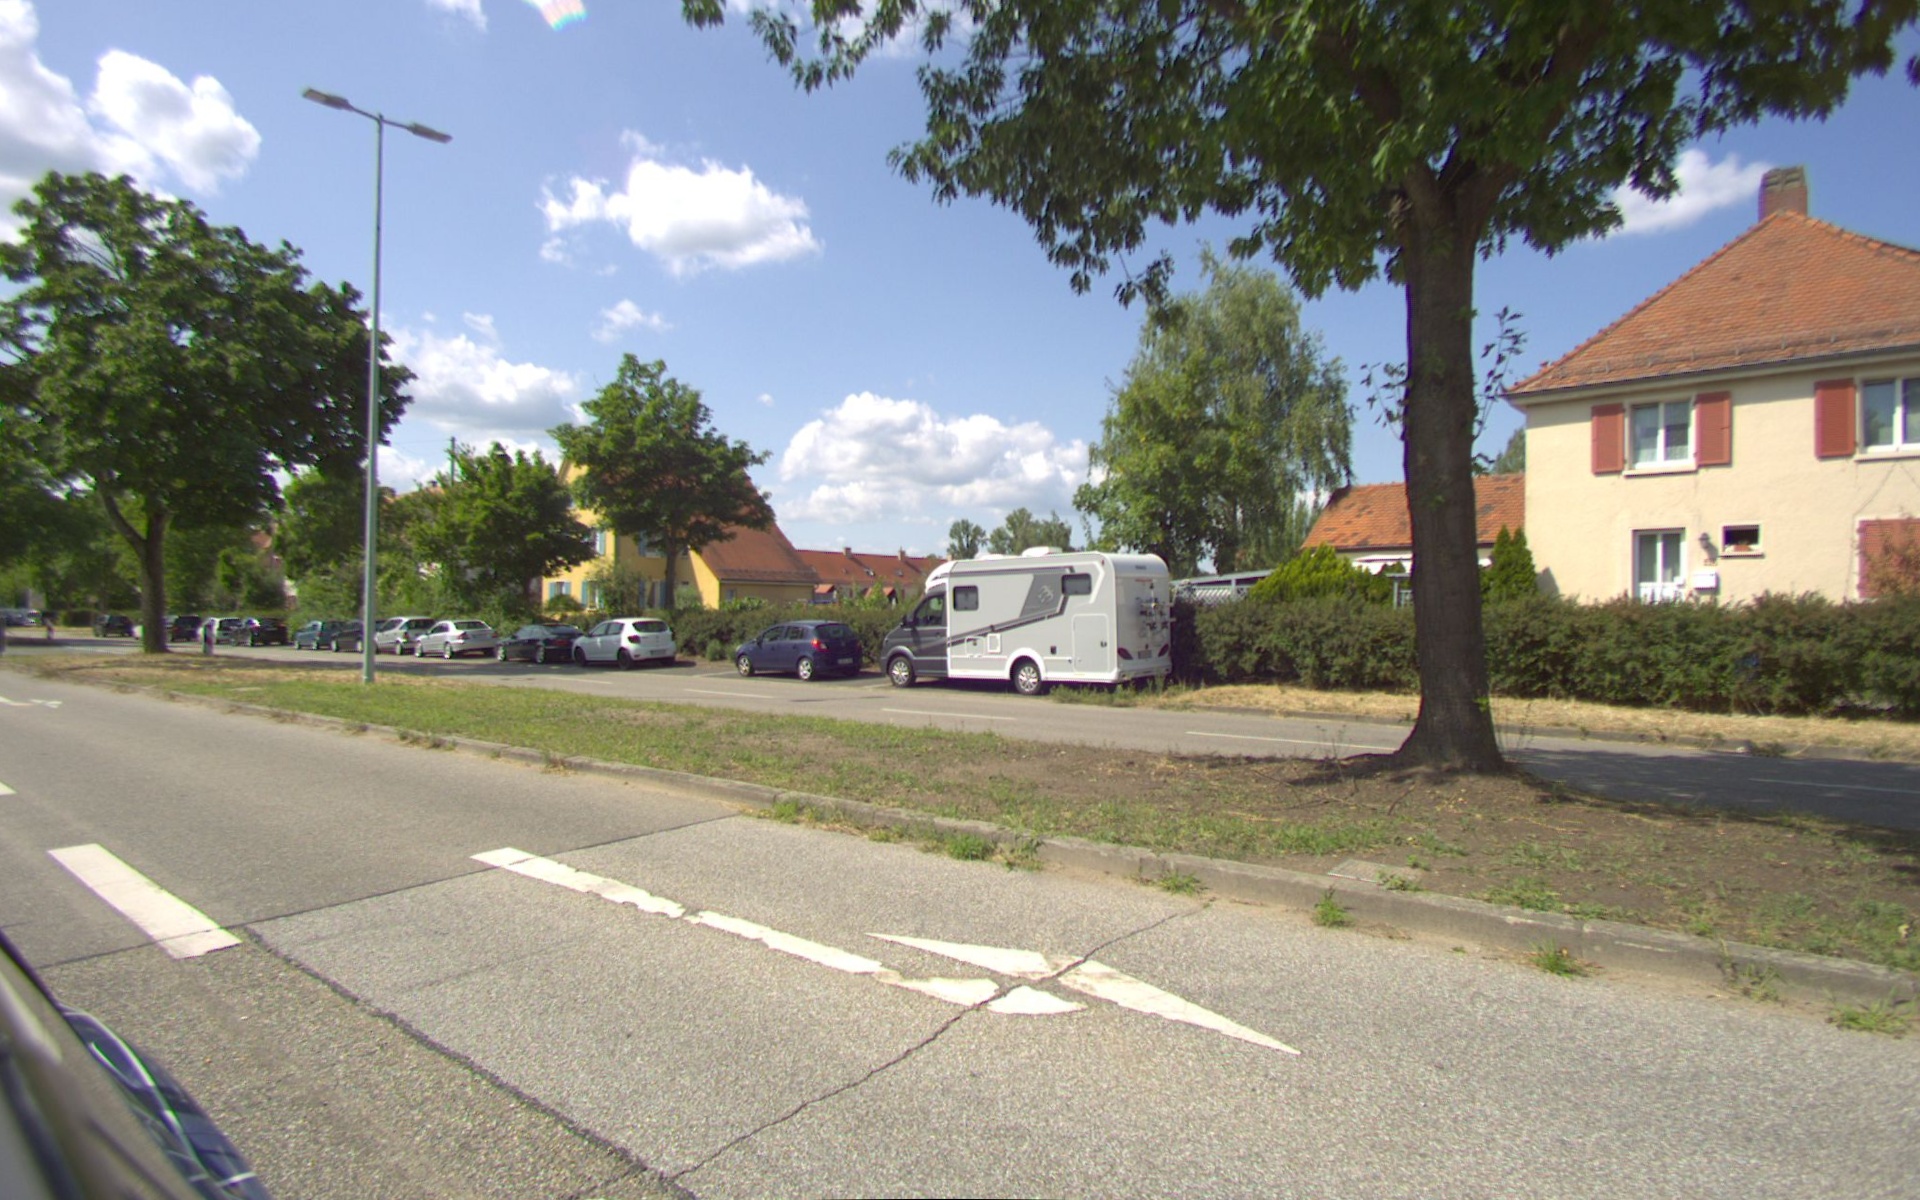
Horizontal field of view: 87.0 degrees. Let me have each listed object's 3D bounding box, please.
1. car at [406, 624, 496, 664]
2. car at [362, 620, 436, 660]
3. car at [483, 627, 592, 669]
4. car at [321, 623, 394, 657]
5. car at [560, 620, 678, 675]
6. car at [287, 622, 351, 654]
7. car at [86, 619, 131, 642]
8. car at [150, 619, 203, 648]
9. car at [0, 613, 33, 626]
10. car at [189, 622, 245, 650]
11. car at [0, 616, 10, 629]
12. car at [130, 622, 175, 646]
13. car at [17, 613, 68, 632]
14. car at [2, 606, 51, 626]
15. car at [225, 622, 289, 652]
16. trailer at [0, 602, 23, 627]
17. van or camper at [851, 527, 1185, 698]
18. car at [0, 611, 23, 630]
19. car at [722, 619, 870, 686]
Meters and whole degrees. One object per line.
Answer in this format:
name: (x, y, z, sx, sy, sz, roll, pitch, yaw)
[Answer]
car: (-19.765, 1.672, 39.248, 4.528, 1.380, 1.495, -1, 0, 41)
car: (-23.679, 1.653, 42.679, 3.738, 1.569, 1.389, -1, 1, 39)
car: (-14.723, 1.613, 35.130, 4.581, 1.316, 1.619, -1, 0, 41)
car: (-27.142, 1.783, 45.513, 4.352, 1.405, 1.389, -1, 1, 39)
car: (-10.793, 1.450, 31.903, 4.122, 1.496, 1.671, 0, 1, 41)
car: (-30.962, 1.813, 48.854, 3.473, 1.405, 1.547, 0, 1, 39)
car: (-62.349, 2.217, 74.104, 3.995, 1.563, 1.750, 0, 1, 38)
car: (-49.143, 2.080, 63.467, 4.309, 1.624, 1.644, 0, 1, 38)
car: (-106.022, 2.170, 113.001, 1.549, 1.408, 4.004, -1, 1, -4)
car: (-43.291, 2.078, 58.970, 3.842, 1.462, 1.644, 0, 1, 38)
car: (-112.531, 2.672, 116.841, 1.798, 1.521, 3.948, 0, 1, 39)
car: (-53.930, 2.235, 67.546, 3.530, 1.472, 1.578, 0, 1, 38)
car: (-93.643, 2.256, 103.295, 1.778, 1.874, 4.004, -1, -1, -4)
car: (-101.078, 1.742, 109.588, 1.778, 2.029, 4.004, -1, 1, -4)
car: (-37.645, 1.977, 54.175, 4.098, 1.492, 1.644, -1, 0, 38)
trailer: (-120.476, 1.857, 126.169, 2.781, 3.131, 5.768, -2, 0, -13)
van or camper: (1.000, 0.274, 21.855, 7.316, 3.135, 2.235, -2, 0, 41)
car: (-108.400, 2.368, 114.217, 1.778, 2.029, 4.004, -1, 1, -4)
car: (-4.328, 1.309, 26.383, 3.990, 1.496, 1.619, 0, 1, 41)
